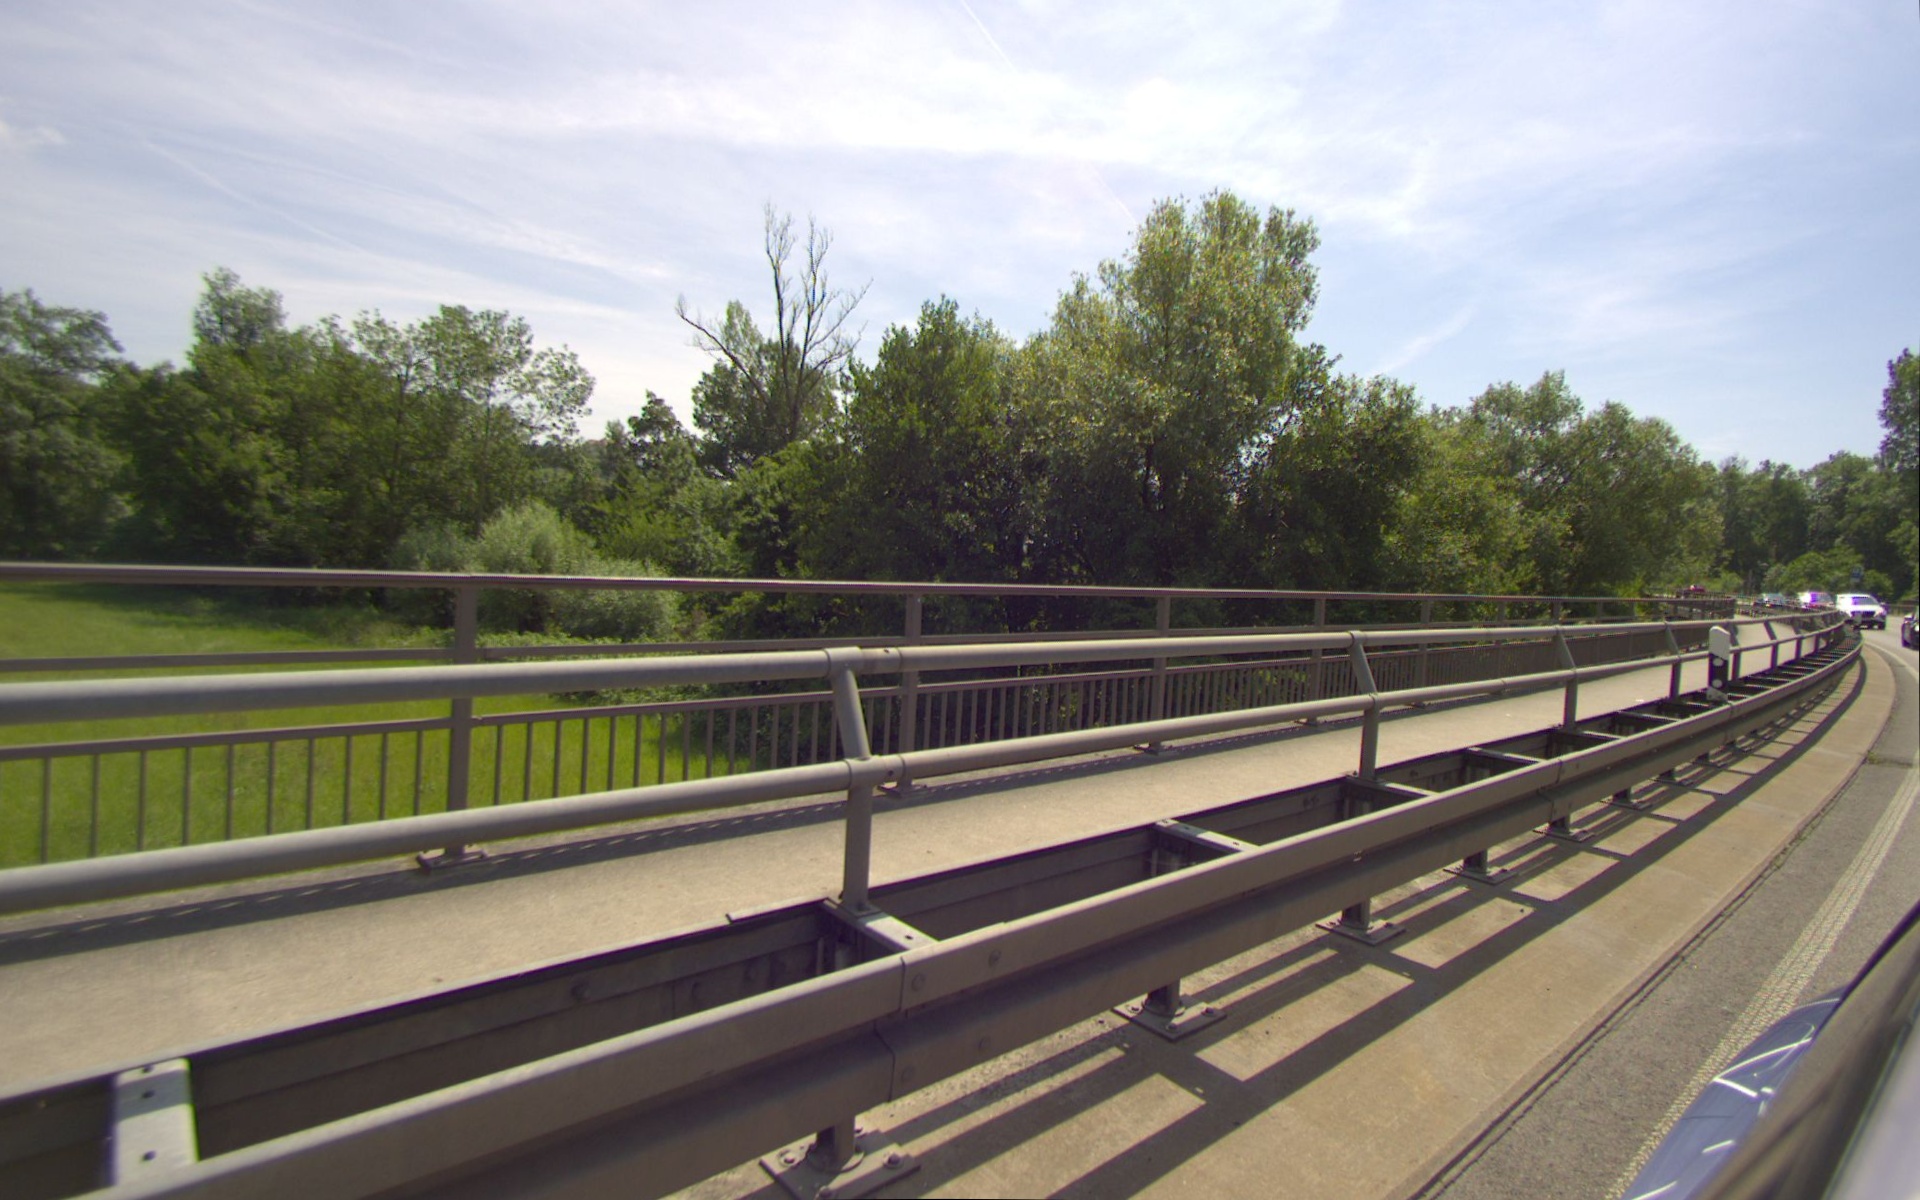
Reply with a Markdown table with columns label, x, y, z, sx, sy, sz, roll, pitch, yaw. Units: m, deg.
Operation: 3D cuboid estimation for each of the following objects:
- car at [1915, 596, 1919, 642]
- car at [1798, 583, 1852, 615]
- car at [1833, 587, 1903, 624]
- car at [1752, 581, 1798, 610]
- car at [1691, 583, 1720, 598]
| label | x | y | z | sx | sy | sz | roll | pitch | yaw |
| --- | --- | --- | --- | --- | --- | --- | --- | --- | --- |
| car | 31.213 | 0.619 | 31.541 | 1.902 | 1.439 | 3.892 | 1 | 1 | 40 |
| car | 50.618 | -0.071 | 59.300 | 1.987 | 1.798 | 3.951 | 0 | 1 | 34 |
| car | 43.462 | 0.217 | 48.523 | 1.896 | 1.668 | 3.904 | 0 | 1 | 33 |
| car | 57.694 | -0.331 | 71.709 | 1.984 | 2.039 | 3.955 | 0 | 1 | 32 |
| car | 79.624 | -1.005 | 108.163 | 1.806 | 1.542 | 3.914 | 1 | 1 | 26 |
